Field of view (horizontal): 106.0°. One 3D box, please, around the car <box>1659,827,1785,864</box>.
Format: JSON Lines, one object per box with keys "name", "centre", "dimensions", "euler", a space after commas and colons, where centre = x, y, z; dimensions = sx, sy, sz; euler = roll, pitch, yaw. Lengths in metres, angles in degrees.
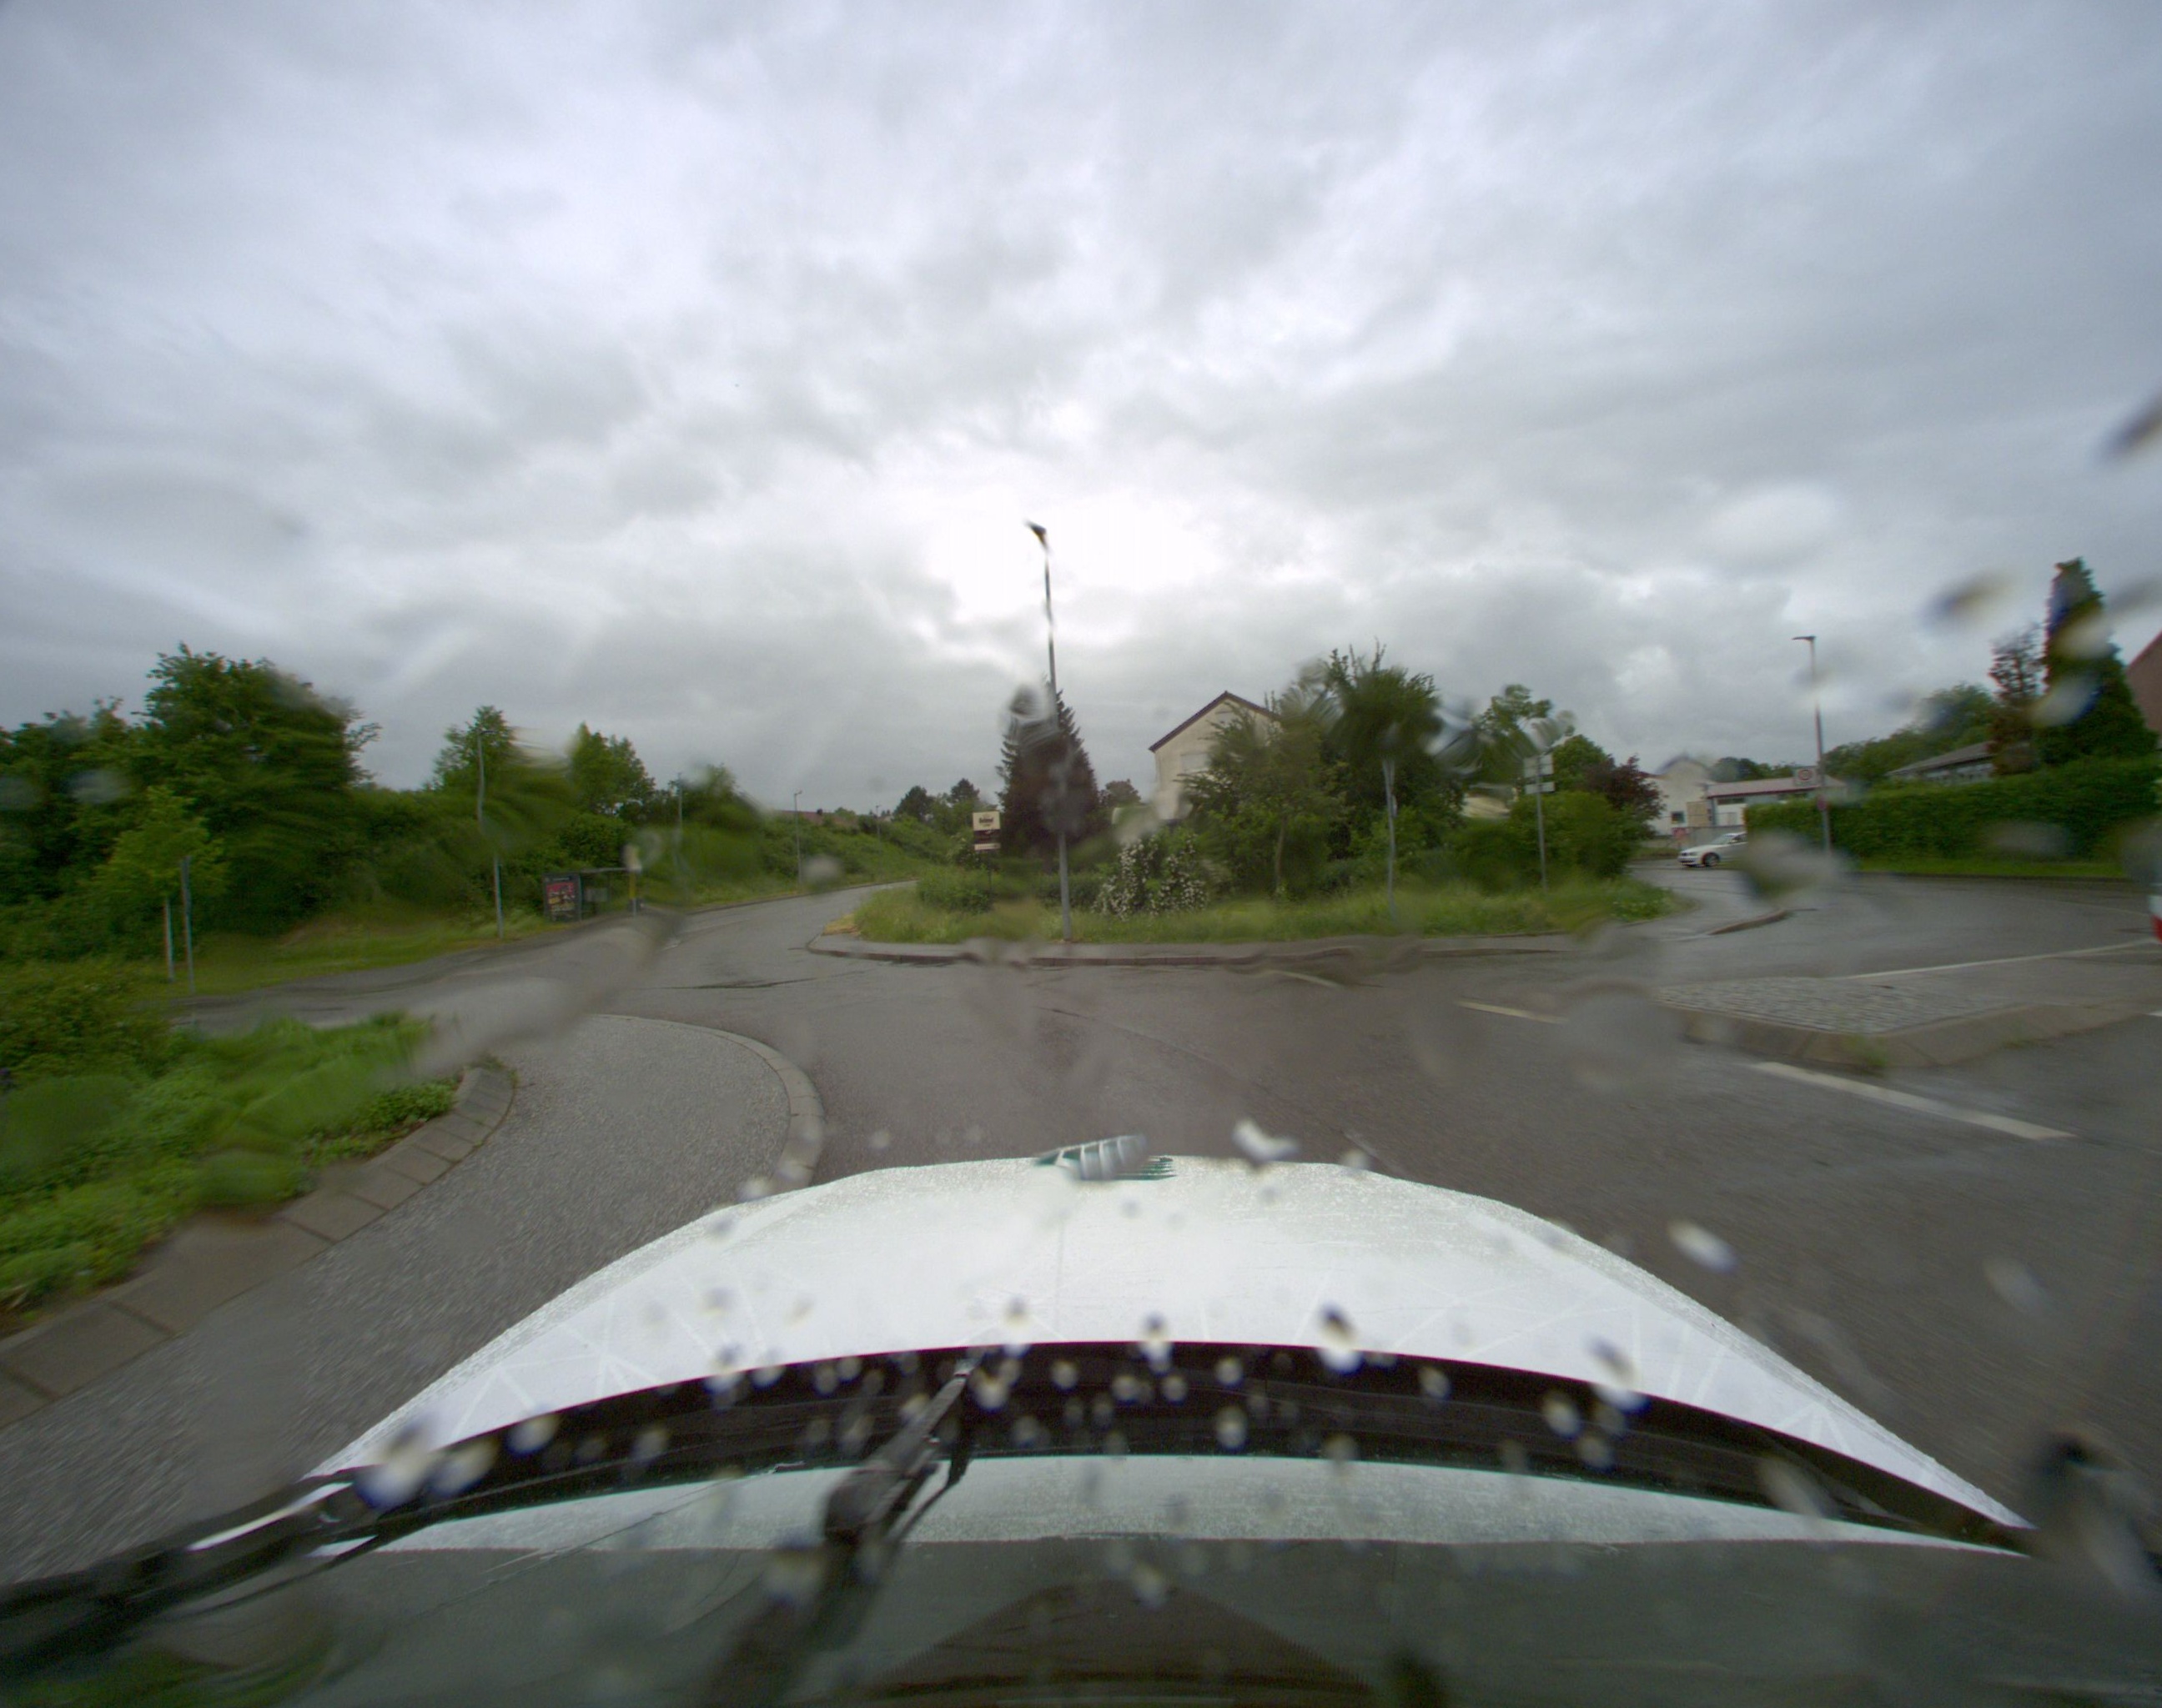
{"name": "car", "centre": [28.504, -0.361, 36.348], "dimensions": [3.957, 1.374, 1.792], "euler": [-4, -1, 15]}
